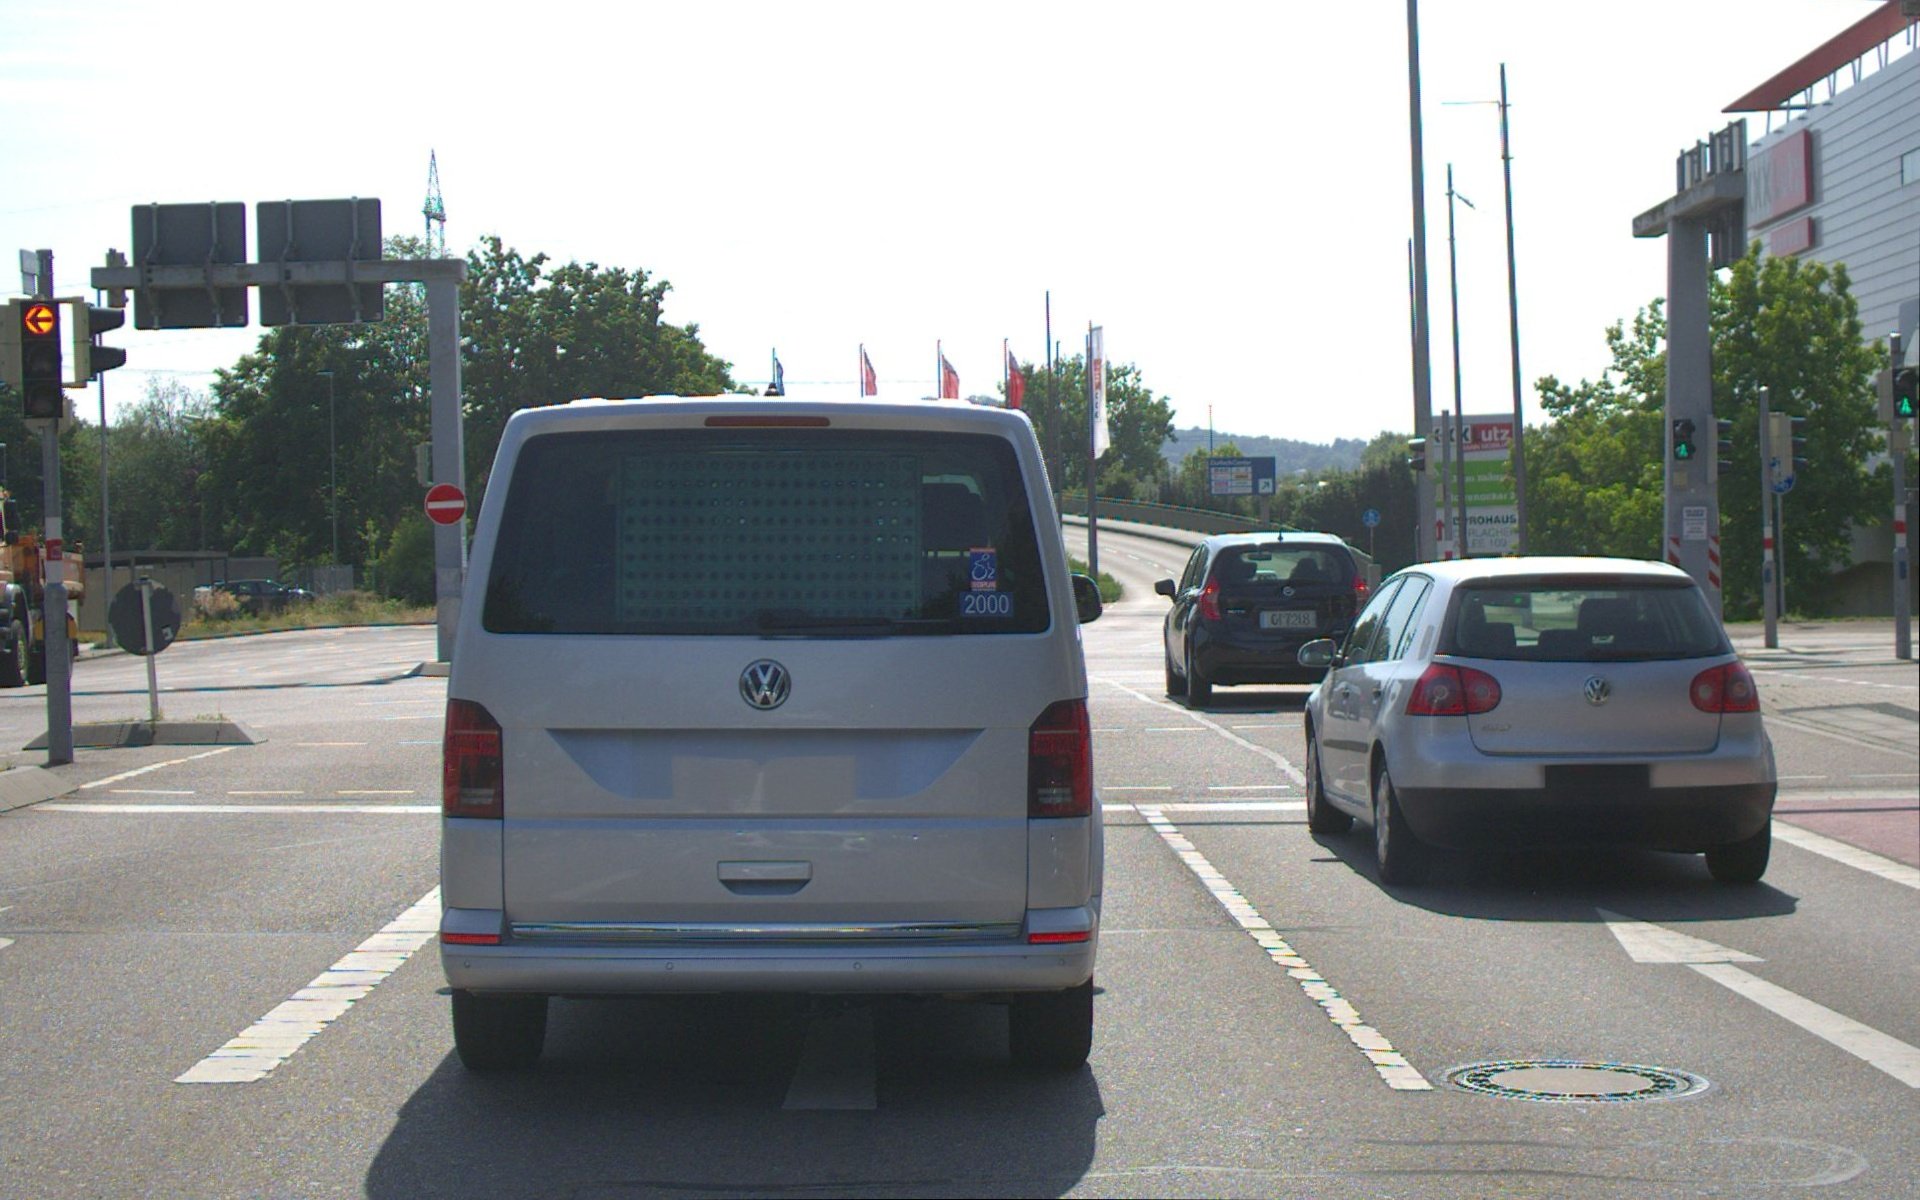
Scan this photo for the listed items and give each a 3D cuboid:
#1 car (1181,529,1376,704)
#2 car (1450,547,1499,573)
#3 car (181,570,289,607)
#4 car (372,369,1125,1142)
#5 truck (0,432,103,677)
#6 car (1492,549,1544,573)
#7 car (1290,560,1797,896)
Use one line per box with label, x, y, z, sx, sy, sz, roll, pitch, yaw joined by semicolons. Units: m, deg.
car;2.813;0.112;30.907;1.531;1.475;3.596;0;1;2
car;32.127;-2.498;214.681;1.883;1.514;4.001;1;0;-9
car;-29.417;-0.471;139.511;4.098;1.415;1.729;-1;-1;-19
car;-0.570;0.367;10.926;1.917;1.968;4.297;0;1;-1
truck;-15.930;-0.695;55.406;2.746;3.667;7.580;-2;1;-4
car;34.846;-2.429;214.717;1.993;1.415;4.001;1;0;-9
car;2.655;0.522;16.431;1.666;1.409;3.683;0;1;-2
